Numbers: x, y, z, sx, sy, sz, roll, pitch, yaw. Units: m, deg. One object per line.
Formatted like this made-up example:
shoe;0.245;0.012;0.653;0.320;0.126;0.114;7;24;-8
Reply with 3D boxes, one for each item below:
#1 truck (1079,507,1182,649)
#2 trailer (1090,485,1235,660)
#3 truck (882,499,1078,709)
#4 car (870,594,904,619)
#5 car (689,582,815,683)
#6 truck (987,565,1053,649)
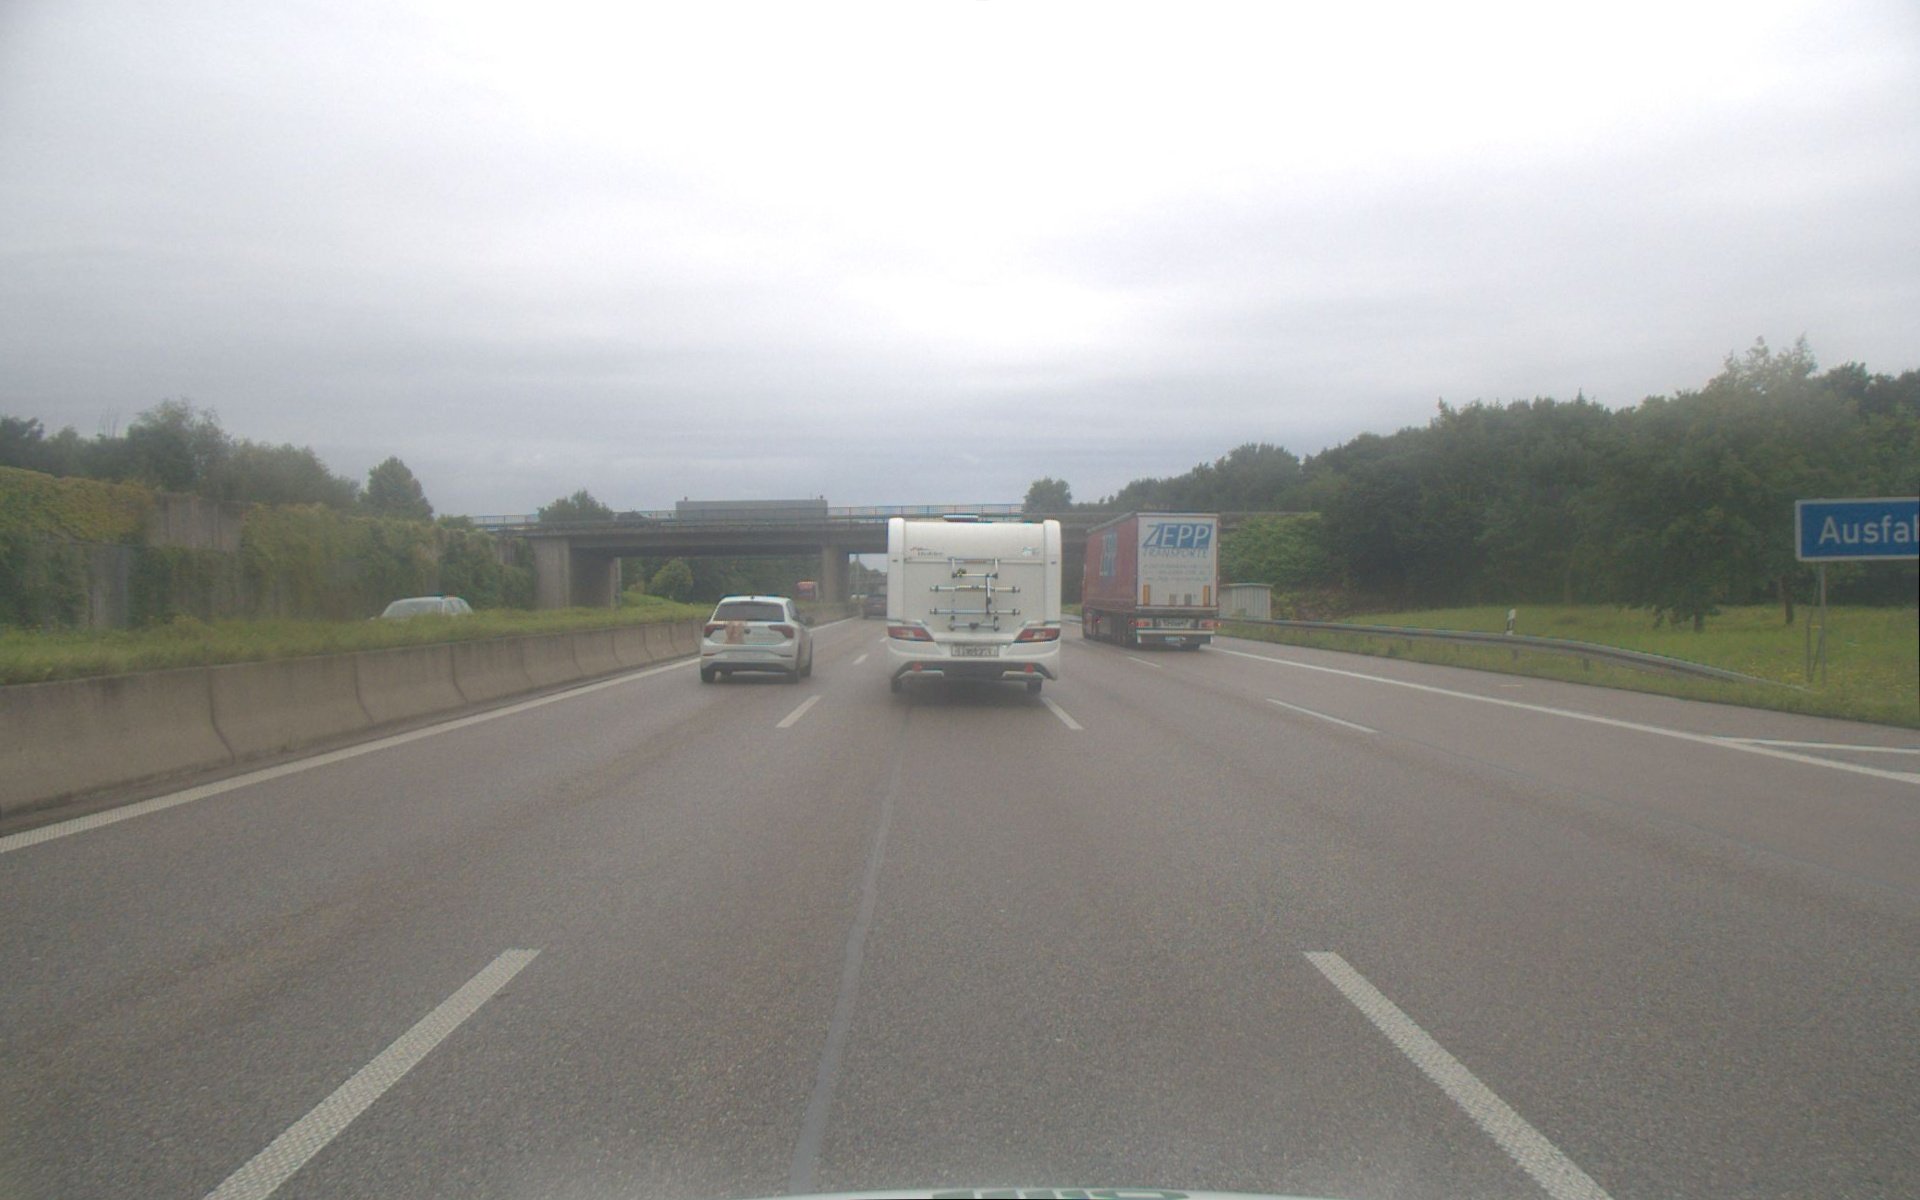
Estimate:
truck;6.188;-0.762;60.978;2.987;4.924;5.848;1;0;-2
trailer;6.318;-0.763;53.716;3.037;5.008;11.787;1;0;-1
truck;0.222;0.070;24.875;2.607;2.790;5.076;1;0;-1
car;-4.771;0.429;109.341;1.952;1.628;5.123;1;0;0
car;-3.603;0.521;29.391;1.717;1.646;4.663;0;0;-1
truck;2.092;0.257;59.073;2.011;2.818;5.547;1;0;-1
